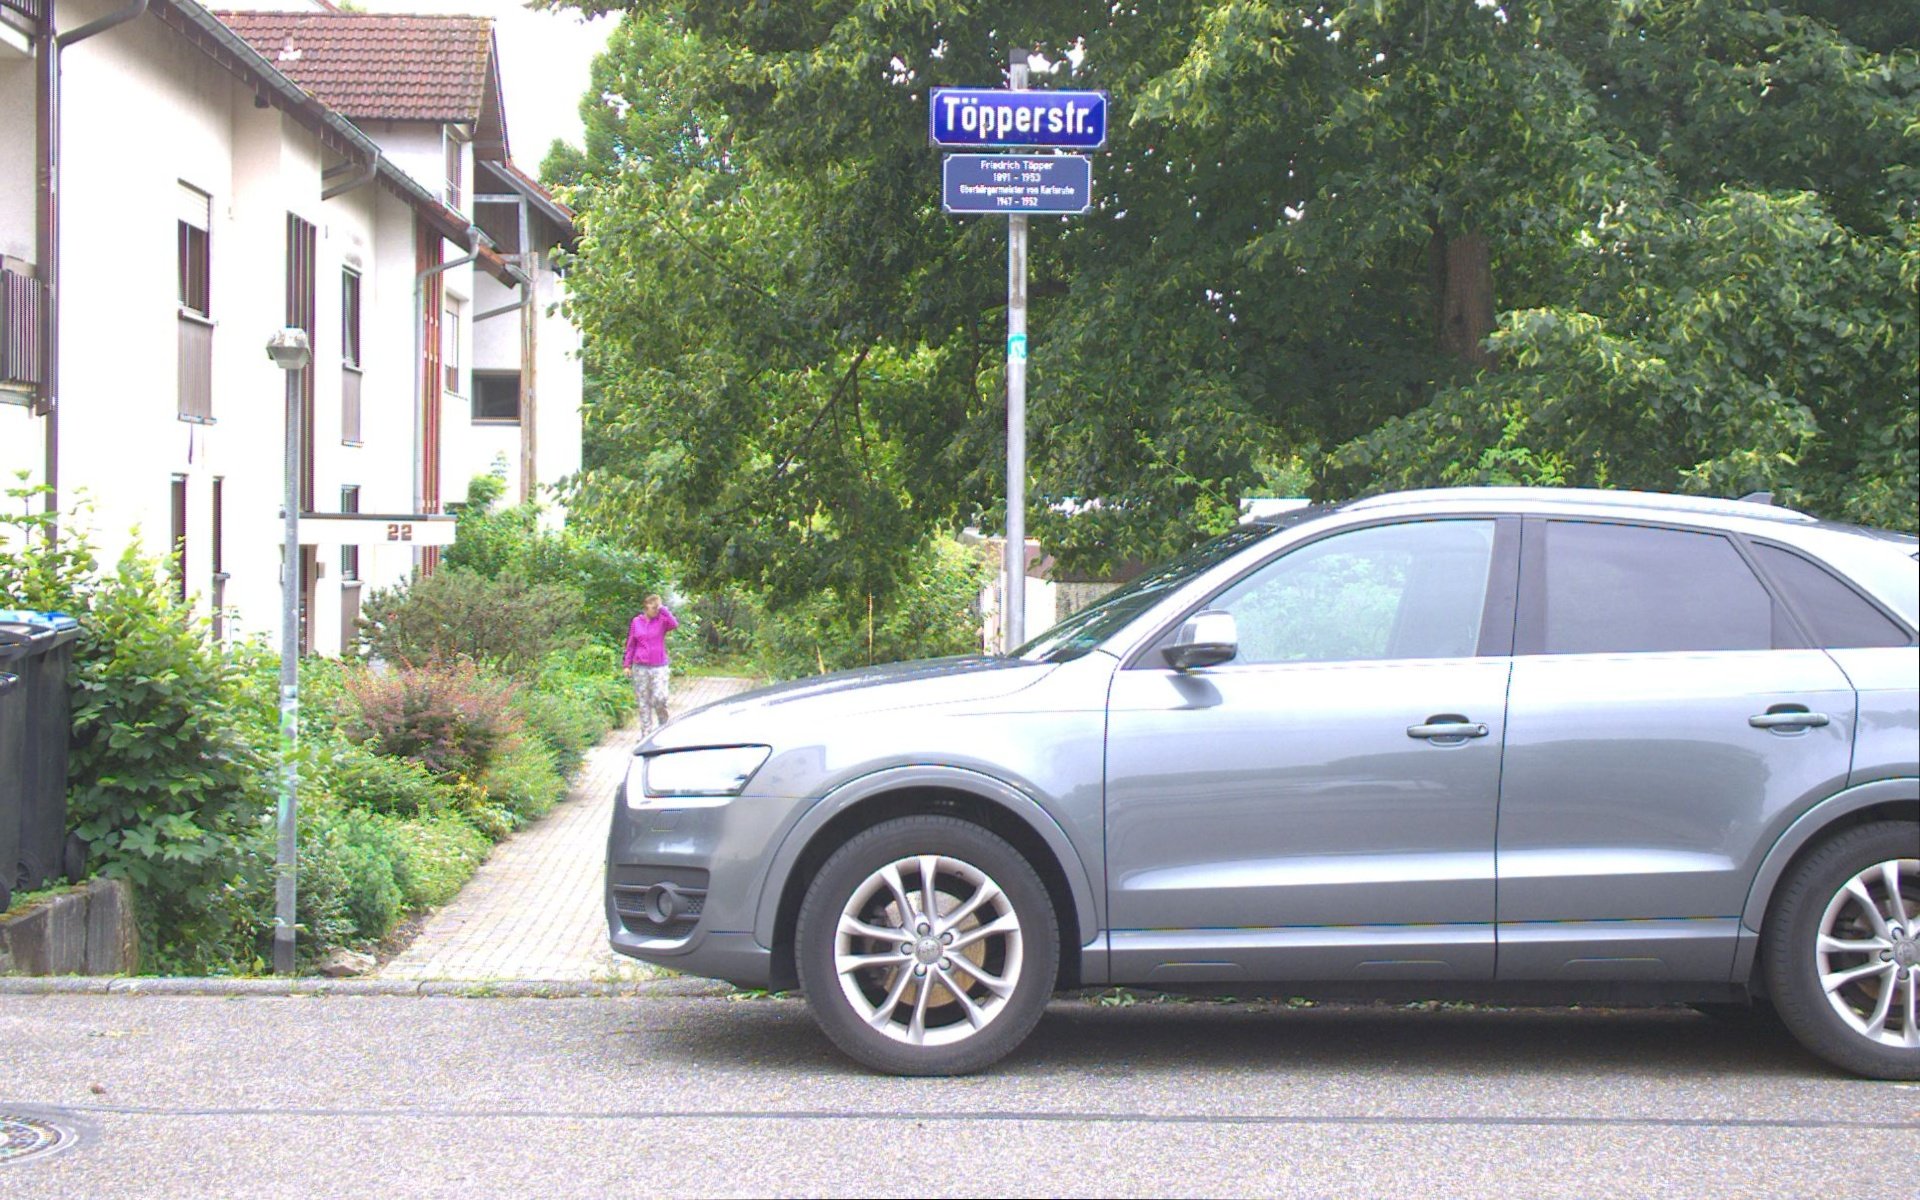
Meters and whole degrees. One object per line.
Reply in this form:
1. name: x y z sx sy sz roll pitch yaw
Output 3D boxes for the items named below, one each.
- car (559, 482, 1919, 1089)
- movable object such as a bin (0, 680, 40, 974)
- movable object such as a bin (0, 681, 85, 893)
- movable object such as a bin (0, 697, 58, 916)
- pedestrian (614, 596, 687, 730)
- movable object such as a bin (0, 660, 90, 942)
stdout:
1. car: 1.065 0.492 9.725 4.236 1.526 1.747 1 0 -2
2. movable object such as a bin: -3.509 0.756 11.575 0.638 0.950 0.723 1 1 -3
3. movable object such as a bin: -3.703 0.725 13.465 0.459 0.795 0.379 1 1 -4
4. movable object such as a bin: -3.705 0.776 13.043 0.459 0.795 0.379 1 1 -2
5. pedestrian: -3.512 0.712 39.086 0.815 1.512 0.438 0 1 -4
6. movable object such as a bin: -3.550 0.703 12.290 0.733 0.950 0.584 1 1 -2
